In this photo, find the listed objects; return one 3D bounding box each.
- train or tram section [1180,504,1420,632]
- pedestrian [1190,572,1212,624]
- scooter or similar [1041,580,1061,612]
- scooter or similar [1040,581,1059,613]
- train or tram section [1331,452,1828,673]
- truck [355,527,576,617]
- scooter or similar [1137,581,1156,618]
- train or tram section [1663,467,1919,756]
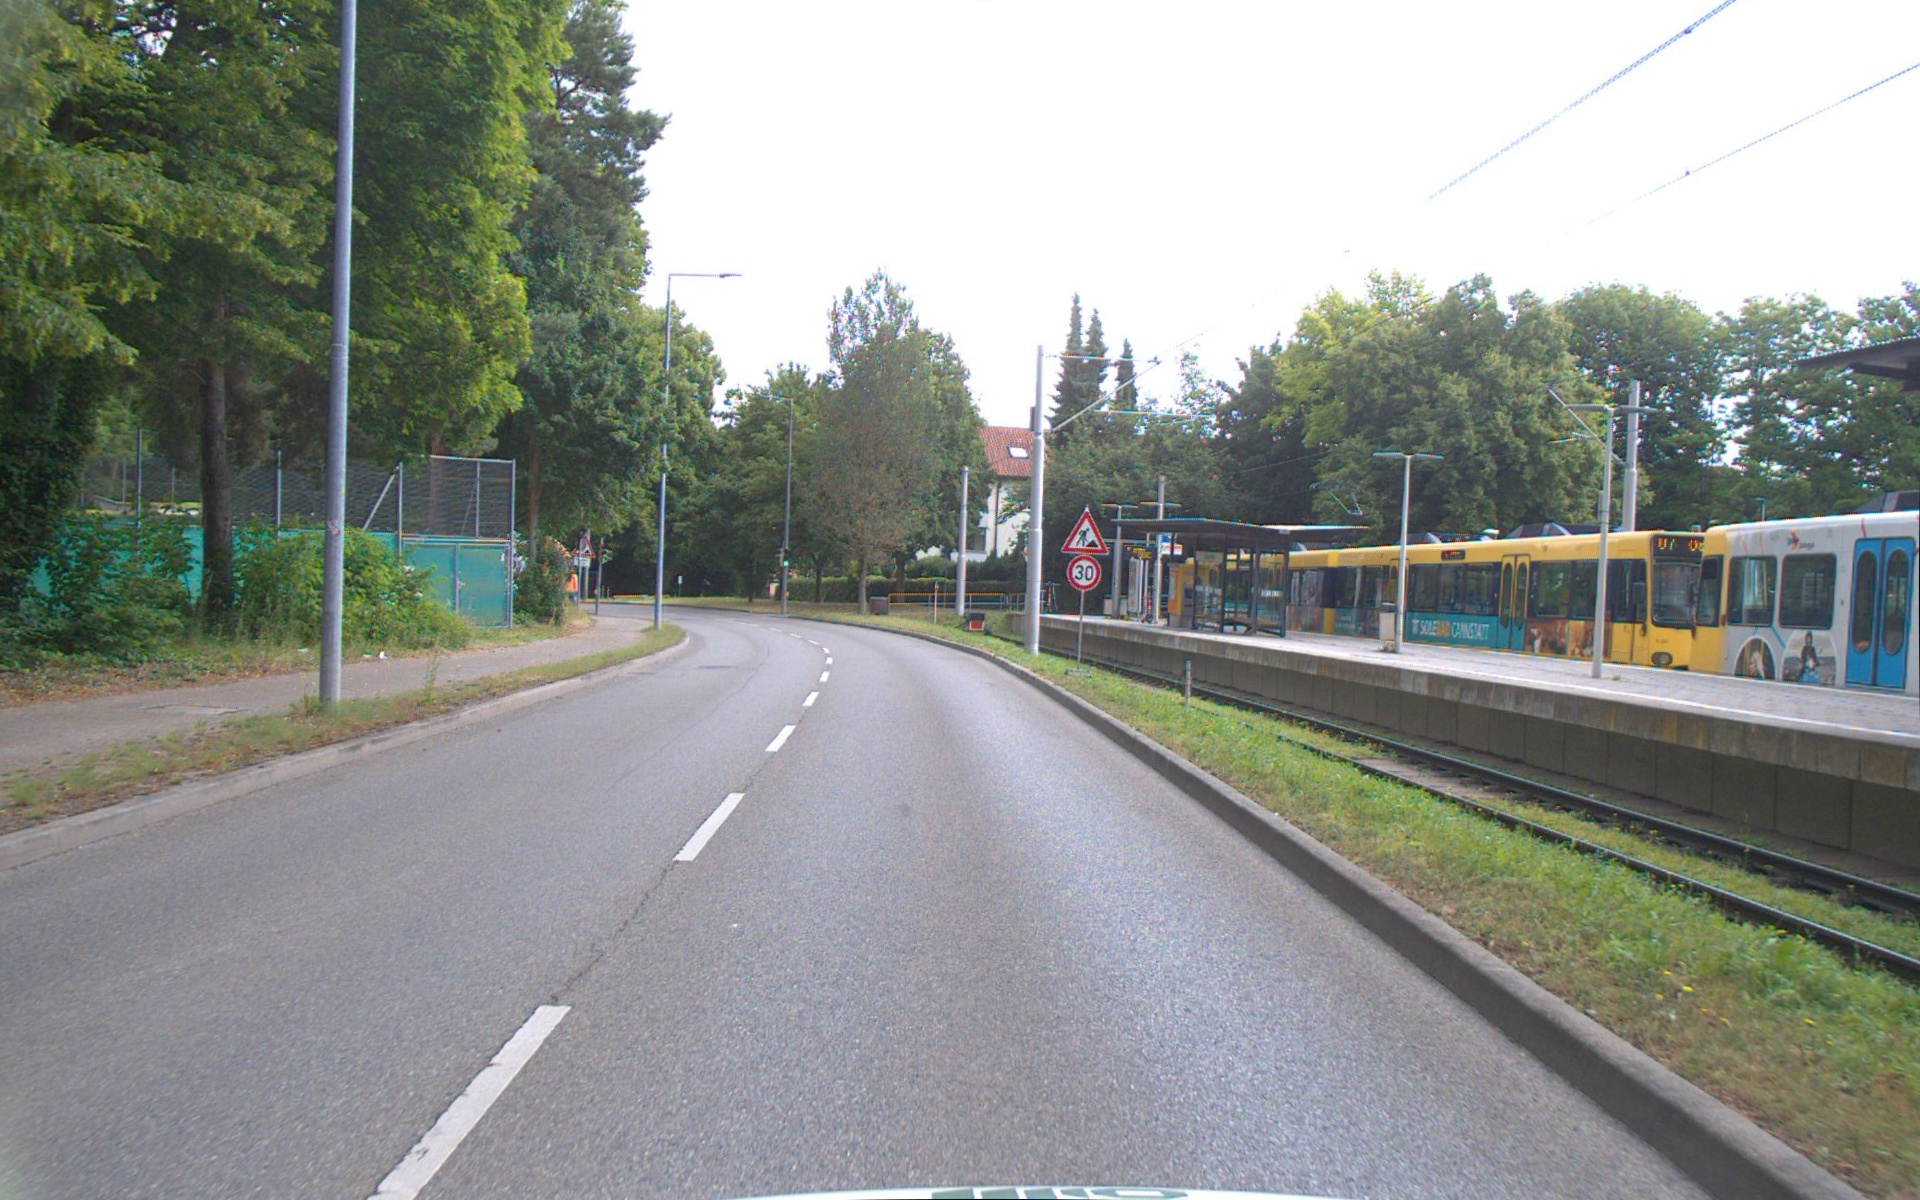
[{"bbox_3d":[11.352,-1.098,58.654,2.759,3.651,19.495,3,1,-5],"label":"train or tram section"},{"bbox_3d":[7.476,-0.063,51.338,0.609,1.600,0.665,1,0,11],"label":"pedestrian"},{"bbox_3d":[3.780,-0.161,69.007,0.423,1.275,1.248,1,-1,-18],"label":"scooter or similar"},{"bbox_3d":[3.601,-0.116,66.808,0.422,1.275,1.250,1,-1,-14],"label":"scooter or similar"},{"bbox_3d":[13.215,-0.823,39.131,2.759,3.801,19.495,3,1,-5],"label":"train or tram section"},{"bbox_3d":[-21.636,-1.176,72.522,9.095,3.593,2.550,2,-1,-20],"label":"truck"},{"bbox_3d":[6.403,-0.025,56.853,0.361,1.264,1.145,1,1,-6],"label":"scooter or similar"},{"bbox_3d":[14.271,0.232,20.162,2.757,3.864,18.929,3,1,-1],"label":"train or tram section"}]
